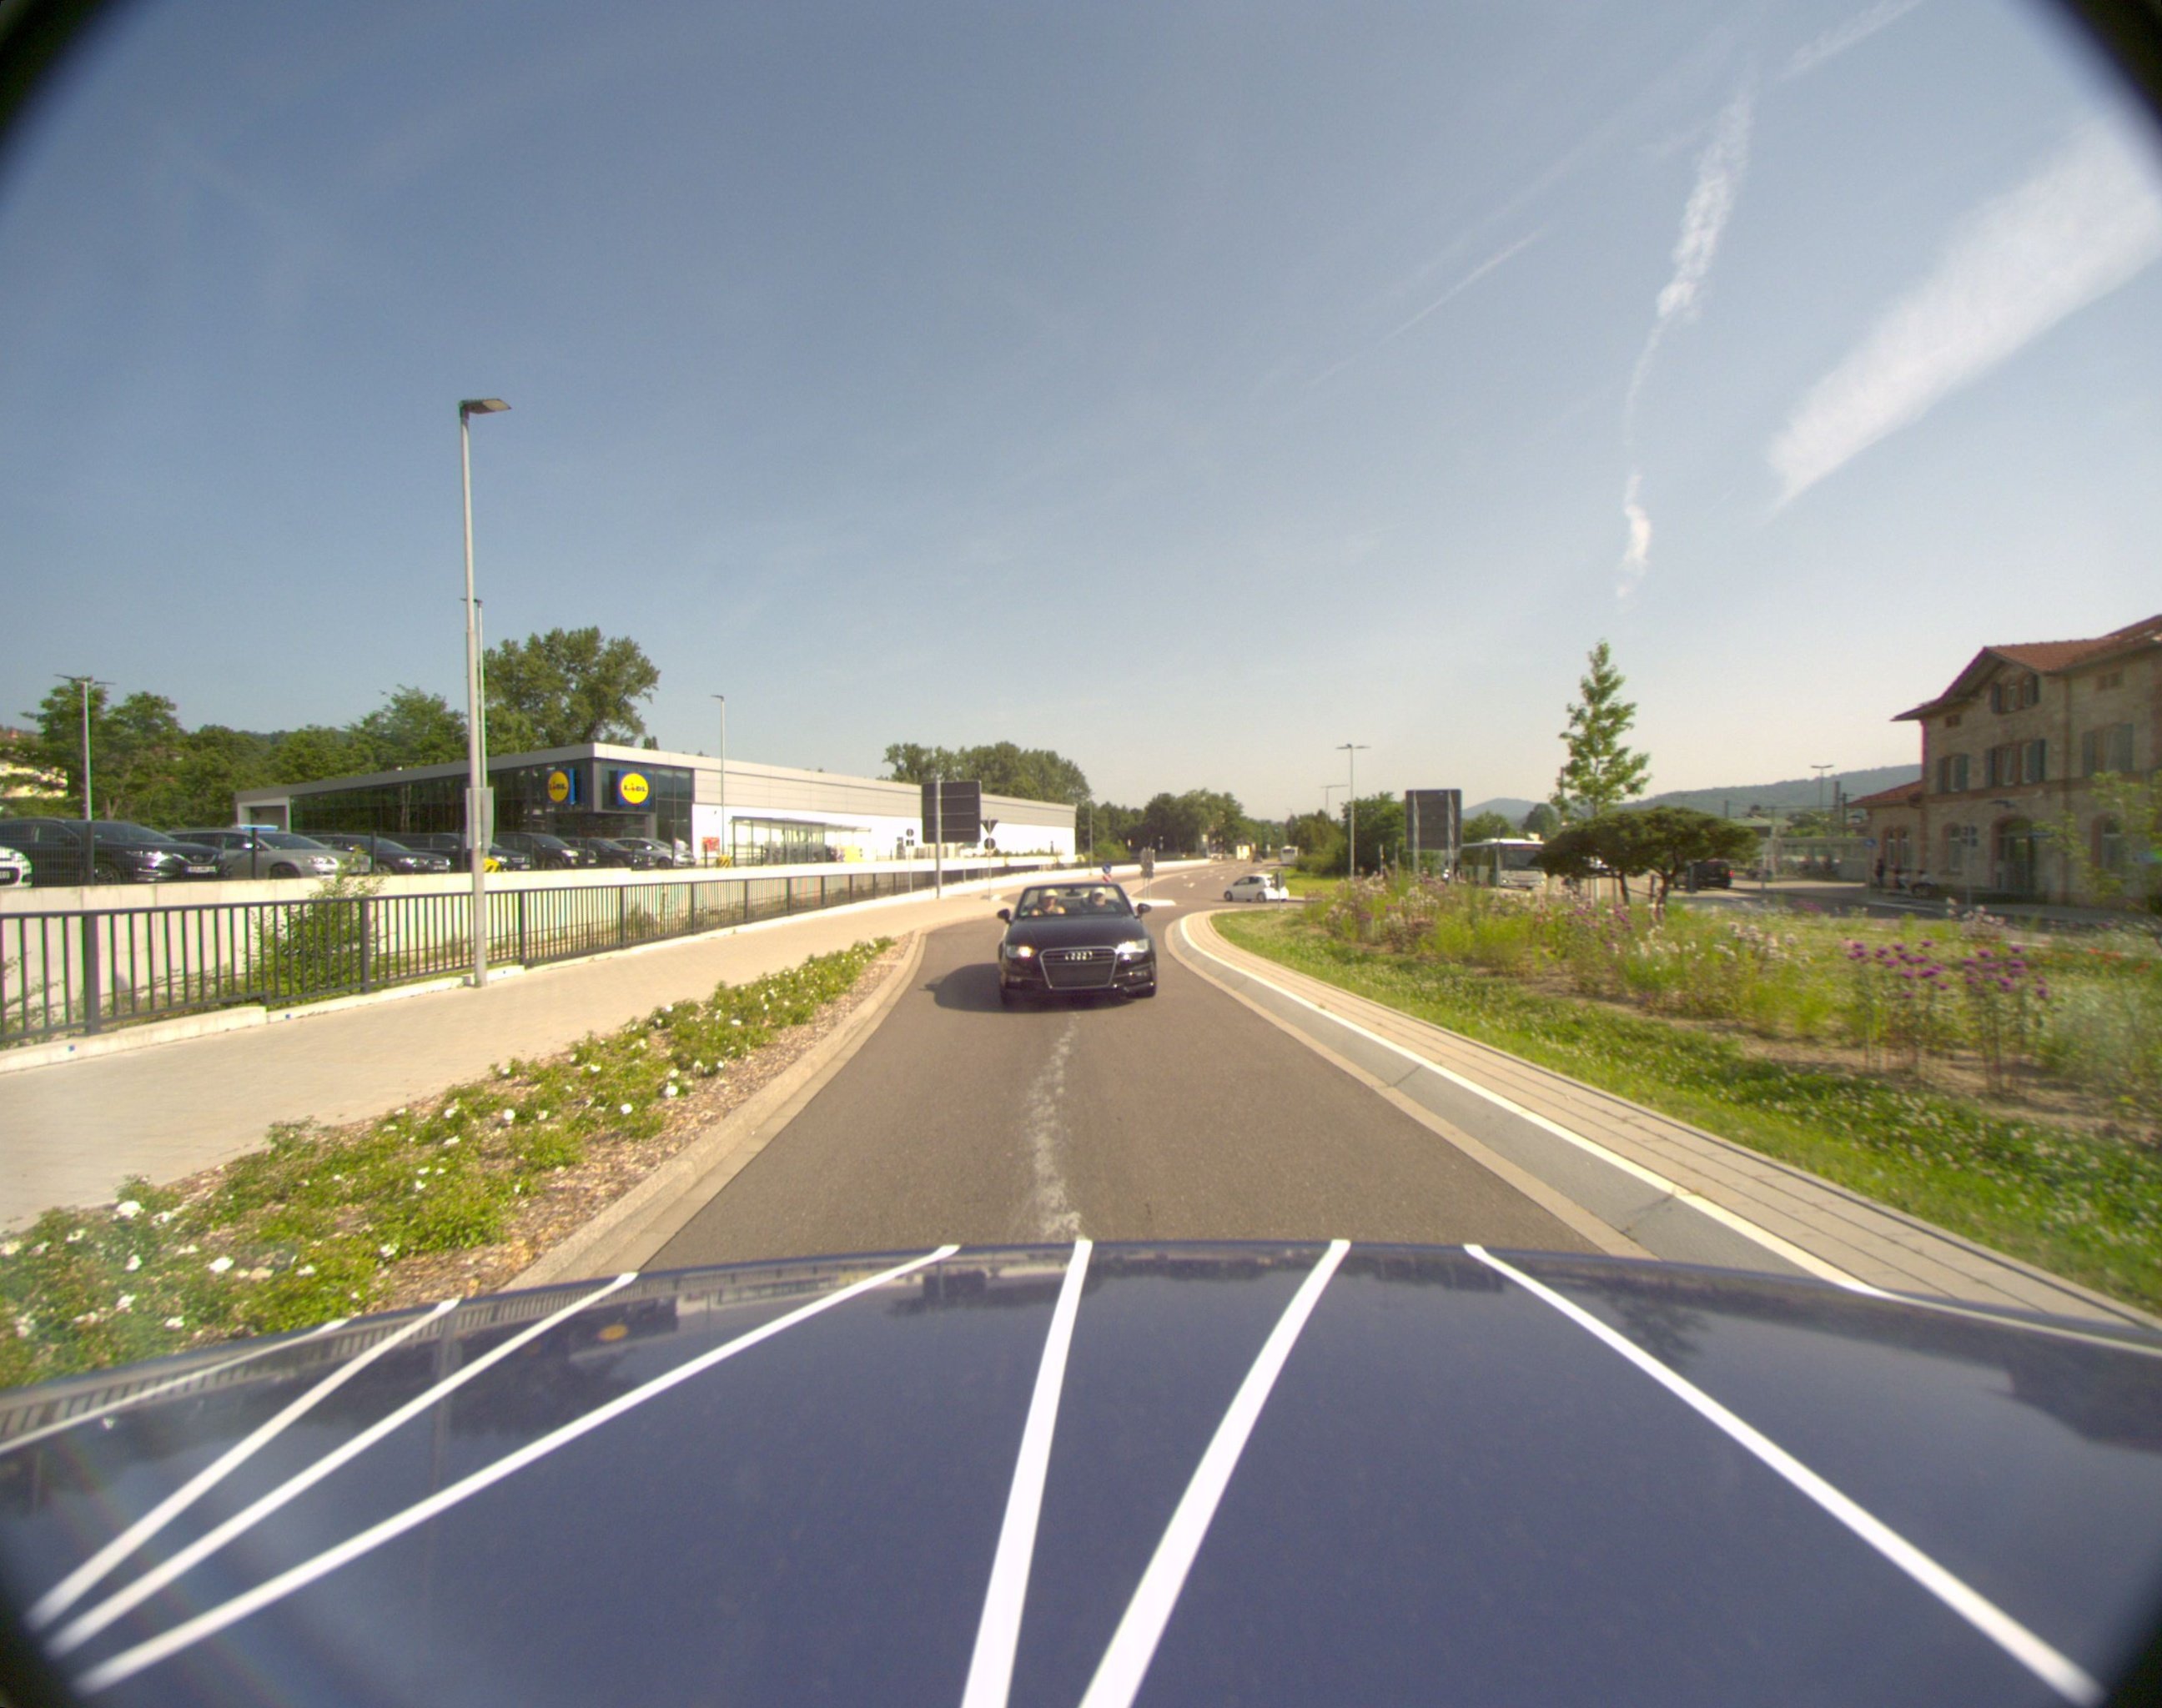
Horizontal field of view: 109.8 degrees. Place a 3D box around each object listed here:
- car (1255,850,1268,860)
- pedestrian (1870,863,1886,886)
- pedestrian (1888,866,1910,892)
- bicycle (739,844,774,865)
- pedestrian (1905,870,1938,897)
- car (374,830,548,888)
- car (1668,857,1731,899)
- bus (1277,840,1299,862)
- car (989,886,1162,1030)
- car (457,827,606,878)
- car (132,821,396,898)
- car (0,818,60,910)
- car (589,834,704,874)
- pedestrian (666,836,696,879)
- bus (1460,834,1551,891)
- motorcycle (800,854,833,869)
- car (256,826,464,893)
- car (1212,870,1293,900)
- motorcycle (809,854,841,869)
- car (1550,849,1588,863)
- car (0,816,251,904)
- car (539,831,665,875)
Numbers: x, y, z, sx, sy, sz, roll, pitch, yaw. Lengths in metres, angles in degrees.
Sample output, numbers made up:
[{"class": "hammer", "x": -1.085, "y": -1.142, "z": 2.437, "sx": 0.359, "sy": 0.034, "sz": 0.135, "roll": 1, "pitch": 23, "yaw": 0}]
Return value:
[{"class": "car", "x": 34.582, "y": 0.225, "z": 145.582, "sx": 1.884, "sy": 1.783, "sz": 4.002, "roll": -3, "pitch": 0, "yaw": 6}, {"class": "pedestrian", "x": 40.940, "y": 1.043, "z": 39.032, "sx": 0.371, "sy": 1.155, "sz": 0.507, "roll": -3, "pitch": 0, "yaw": 25}, {"class": "pedestrian", "x": 37.946, "y": 1.163, "z": 35.263, "sx": 0.511, "sy": 1.155, "sz": 0.507, "roll": -3, "pitch": 0, "yaw": 25}, {"class": "bicycle", "x": -17.951, "y": 0.009, "z": 42.075, "sx": 0.626, "sy": 1.087, "sz": 1.881, "roll": -3, "pitch": 0, "yaw": 17}, {"class": "pedestrian", "x": 36.893, "y": 1.296, "z": 33.357, "sx": 0.789, "sy": 1.155, "sz": 0.507, "roll": -3, "pitch": 0, "yaw": 25}, {"class": "car", "x": -19.505, "y": 0.154, "z": 24.030, "sx": 3.997, "sy": 1.565, "sz": 1.704, "roll": -3, "pitch": 0, "yaw": -1}, {"class": "car", "x": 32.319, "y": 1.210, "z": 39.829, "sx": 1.973, "sy": 1.953, "sz": 5.167, "roll": -3, "pitch": 0, "yaw": 33}, {"class": "bus", "x": 32.621, "y": -0.498, "z": 119.643, "sx": 2.864, "sy": 3.173, "sz": 9.129, "roll": -2, "pitch": 0, "yaw": 18}, {"class": "car", "x": -0.154, "y": 1.150, "z": 9.877, "sx": 1.722, "sy": 1.314, "sz": 4.224, "roll": -2, "pitch": -1, "yaw": -3}, {"class": "car", "x": -19.604, "y": -0.050, "z": 27.210, "sx": 3.997, "sy": 1.565, "sz": 1.704, "roll": -3, "pitch": 0, "yaw": -1}, {"class": "car", "x": -19.498, "y": 0.124, "z": 18.273, "sx": 4.413, "sy": 1.565, "sz": 1.704, "roll": -3, "pitch": 0, "yaw": -1}, {"class": "car", "x": -20.359, "y": 0.253, "z": 12.760, "sx": 3.997, "sy": 1.565, "sz": 1.704, "roll": -3, "pitch": 0, "yaw": -1}, {"class": "car", "x": -19.658, "y": -0.009, "z": 34.501, "sx": 4.129, "sy": 1.565, "sz": 1.704, "roll": -3, "pitch": 0, "yaw": -1}, {"class": "pedestrian", "x": -18.936, "y": 0.173, "z": 35.976, "sx": 0.831, "sy": 2.002, "sz": 0.864, "roll": -3, "pitch": 0, "yaw": 15}, {"class": "bus", "x": 27.711, "y": 0.484, "z": 50.178, "sx": 2.584, "sy": 3.309, "sz": 10.600, "roll": -3, "pitch": 0, "yaw": 15}, {"class": "motorcycle", "x": -16.355, "y": 0.473, "z": 47.044, "sx": 1.880, "sy": 0.858, "sz": 0.626, "roll": -3, "pitch": 0, "yaw": -18}, {"class": "car", "x": -19.703, "y": 0.147, "z": 20.888, "sx": 3.997, "sy": 1.565, "sz": 1.704, "roll": -3, "pitch": 0, "yaw": -1}, {"class": "car", "x": 8.921, "y": 1.604, "z": 39.787, "sx": 1.785, "sy": 1.390, "sz": 3.991, "roll": -3, "pitch": 0, "yaw": -32}, {"class": "motorcycle", "x": -16.195, "y": 0.471, "z": 48.142, "sx": 1.880, "sy": 0.858, "sz": 0.626, "roll": -3, "pitch": 0, "yaw": -18}, {"class": "car", "x": 67.518, "y": 0.310, "z": 105.186, "sx": 3.995, "sy": 1.717, "sz": 1.839, "roll": -3, "pitch": 0, "yaw": 6}, {"class": "car", "x": -20.030, "y": 0.134, "z": 15.597, "sx": 3.997, "sy": 1.565, "sz": 1.704, "roll": -3, "pitch": 0, "yaw": -1}, {"class": "car", "x": -19.541, "y": -0.033, "z": 31.105, "sx": 3.997, "sy": 1.565, "sz": 1.704, "roll": -3, "pitch": 0, "yaw": -1}]
